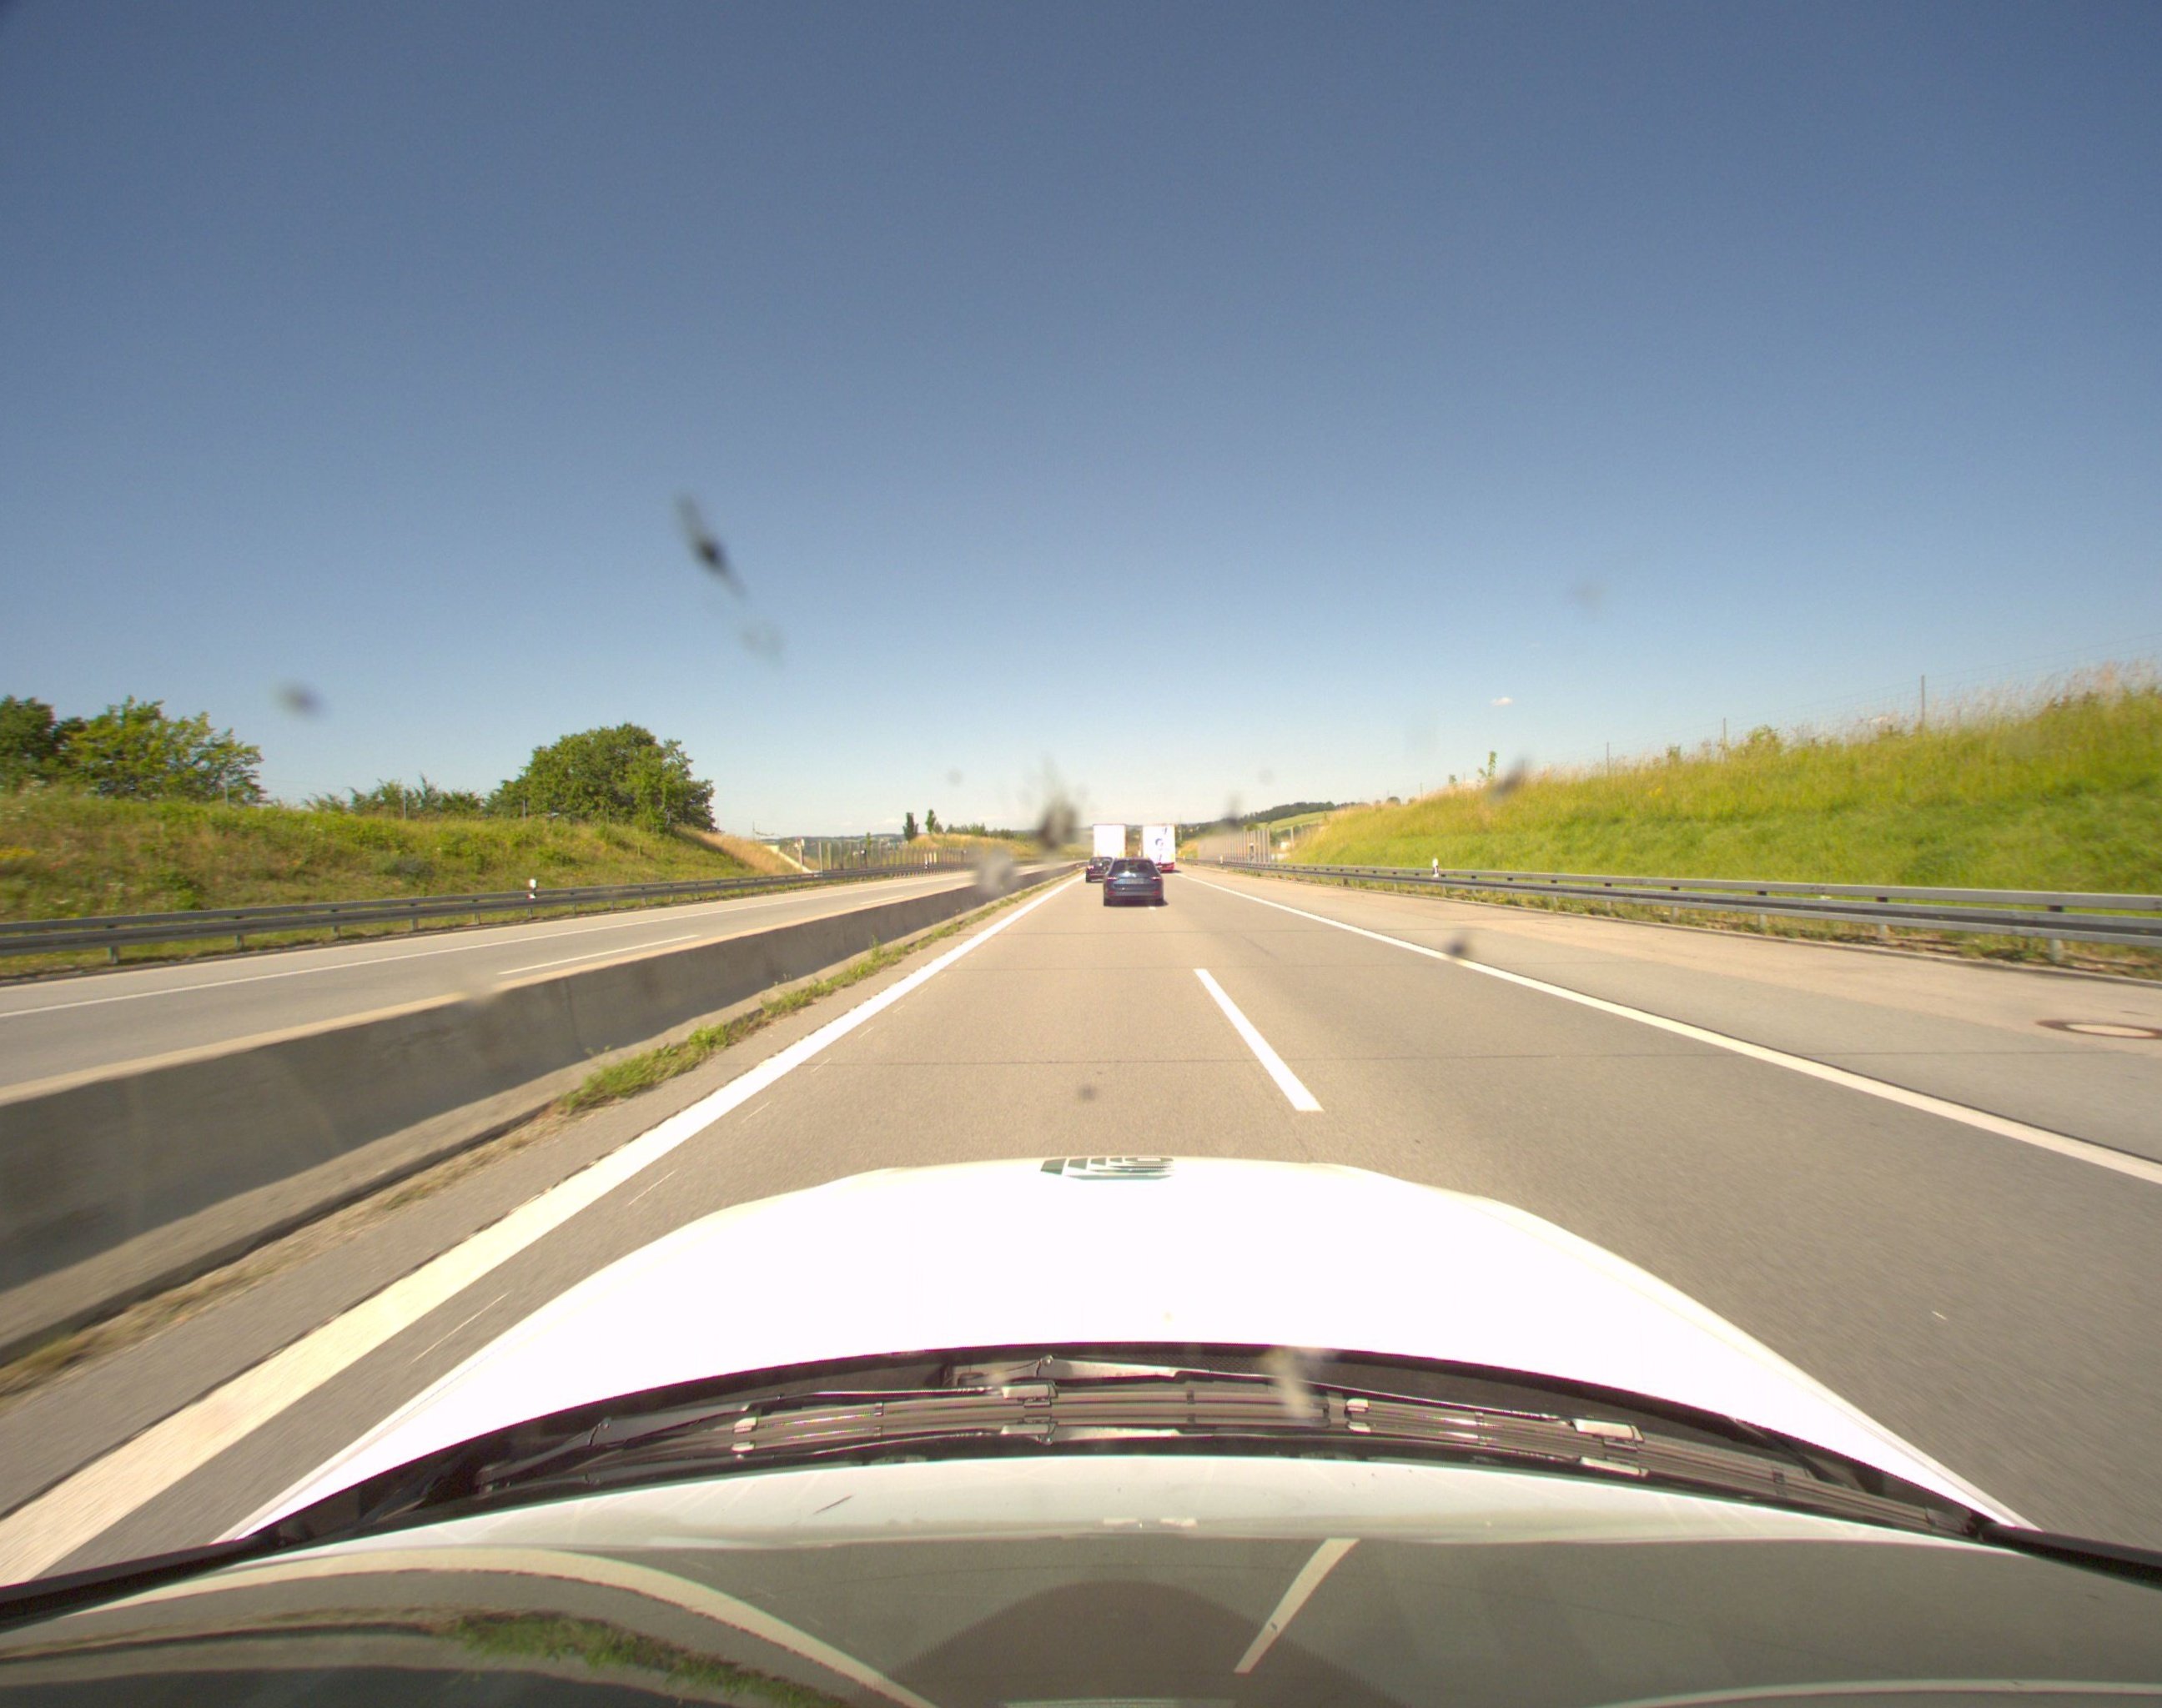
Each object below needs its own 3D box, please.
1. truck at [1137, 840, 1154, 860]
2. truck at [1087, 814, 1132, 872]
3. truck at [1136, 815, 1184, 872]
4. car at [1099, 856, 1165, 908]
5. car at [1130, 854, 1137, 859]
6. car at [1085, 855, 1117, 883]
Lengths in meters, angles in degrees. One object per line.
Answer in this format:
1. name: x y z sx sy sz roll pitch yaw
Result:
1. truck: 14.709 -0.890 187.251 3.589 4.381 11.245 -4 0 4
2. truck: 2.582 -0.878 69.715 3.196 4.381 11.246 -4 0 4
3. truck: 6.744 -0.898 71.511 3.589 4.381 11.245 -4 0 4
4. car: 1.496 0.793 25.025 1.771 1.441 3.788 -1 0 0
5. car: 14.455 0.706 223.088 1.693 1.441 4.002 -2 0 2
6. car: 1.091 0.805 46.151 1.694 1.441 3.999 -4 0 0
